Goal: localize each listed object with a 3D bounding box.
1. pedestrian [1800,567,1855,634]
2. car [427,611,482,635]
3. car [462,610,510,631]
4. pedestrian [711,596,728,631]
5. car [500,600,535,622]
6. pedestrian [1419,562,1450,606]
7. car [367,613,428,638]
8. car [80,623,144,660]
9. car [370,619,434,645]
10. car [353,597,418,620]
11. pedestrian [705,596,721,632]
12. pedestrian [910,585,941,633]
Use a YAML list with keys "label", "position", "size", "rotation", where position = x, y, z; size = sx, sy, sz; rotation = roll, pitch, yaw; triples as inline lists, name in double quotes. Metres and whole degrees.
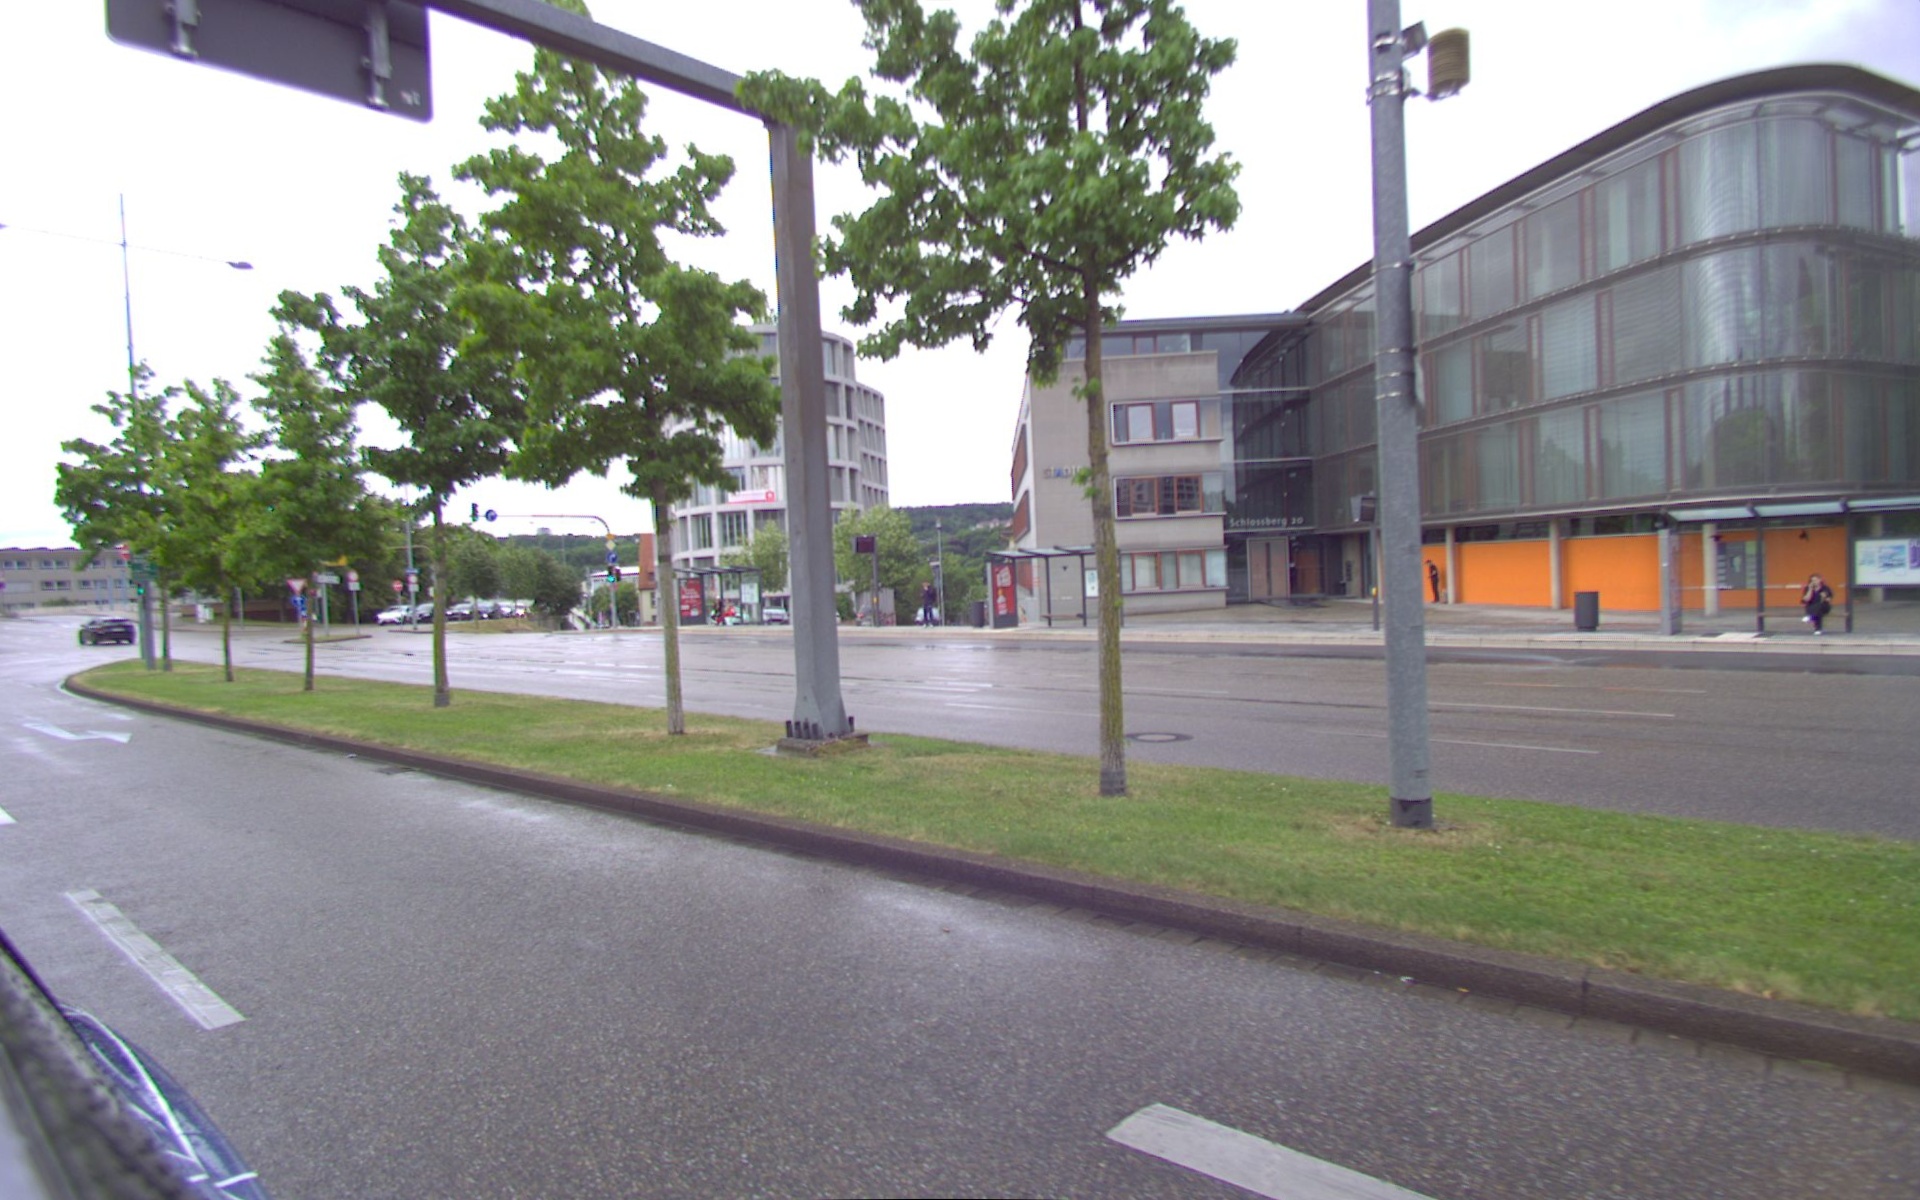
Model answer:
- label: "pedestrian"
  position: [17.774, 0.018, 20.734]
  size: [0.790, 1.334, 0.793]
  rotation: [-2, -1, 42]
- label: "car"
  position: [-40.980, 1.844, 82.143]
  size: [2.164, 1.725, 4.919]
  rotation: [-2, 0, -3]
- label: "car"
  position: [-42.231, 1.773, 90.228]
  size: [2.164, 1.725, 4.920]
  rotation: [-2, 0, -3]
- label: "pedestrian"
  position: [-11.431, 0.655, 48.107]
  size: [0.535, 1.647, 0.514]
  rotation: [-1, 0, 41]
- label: "car"
  position: [-42.546, 1.052, 97.414]
  size: [1.969, 2.029, 4.005]
  rotation: [-1, -2, -6]
- label: "pedestrian"
  position: [18.388, -0.604, 39.207]
  size: [0.697, 1.666, 0.852]
  rotation: [-1, -1, -6]
- label: "car"
  position: [-43.483, 1.935, 78.414]
  size: [2.164, 1.725, 4.919]
  rotation: [-2, 0, -2]
- label: "car"
  position: [-44.773, 2.157, 53.404]
  size: [3.998, 1.789, 1.973]
  rotation: [-2, 0, 41]
- label: "car"
  position: [-40.781, 2.289, 74.083]
  size: [2.164, 1.725, 4.919]
  rotation: [-2, 0, -3]
- label: "car"
  position: [-55.632, 0.796, 98.052]
  size: [4.963, 2.029, 2.311]
  rotation: [-2, 0, 0]
- label: "pedestrian"
  position: [-11.601, 0.656, 47.539]
  size: [0.501, 1.647, 0.497]
  rotation: [-1, 0, 41]
- label: "pedestrian"
  position: [-1.308, 0.342, 38.443]
  size: [0.964, 1.774, 0.783]
  rotation: [-2, 0, 12]
